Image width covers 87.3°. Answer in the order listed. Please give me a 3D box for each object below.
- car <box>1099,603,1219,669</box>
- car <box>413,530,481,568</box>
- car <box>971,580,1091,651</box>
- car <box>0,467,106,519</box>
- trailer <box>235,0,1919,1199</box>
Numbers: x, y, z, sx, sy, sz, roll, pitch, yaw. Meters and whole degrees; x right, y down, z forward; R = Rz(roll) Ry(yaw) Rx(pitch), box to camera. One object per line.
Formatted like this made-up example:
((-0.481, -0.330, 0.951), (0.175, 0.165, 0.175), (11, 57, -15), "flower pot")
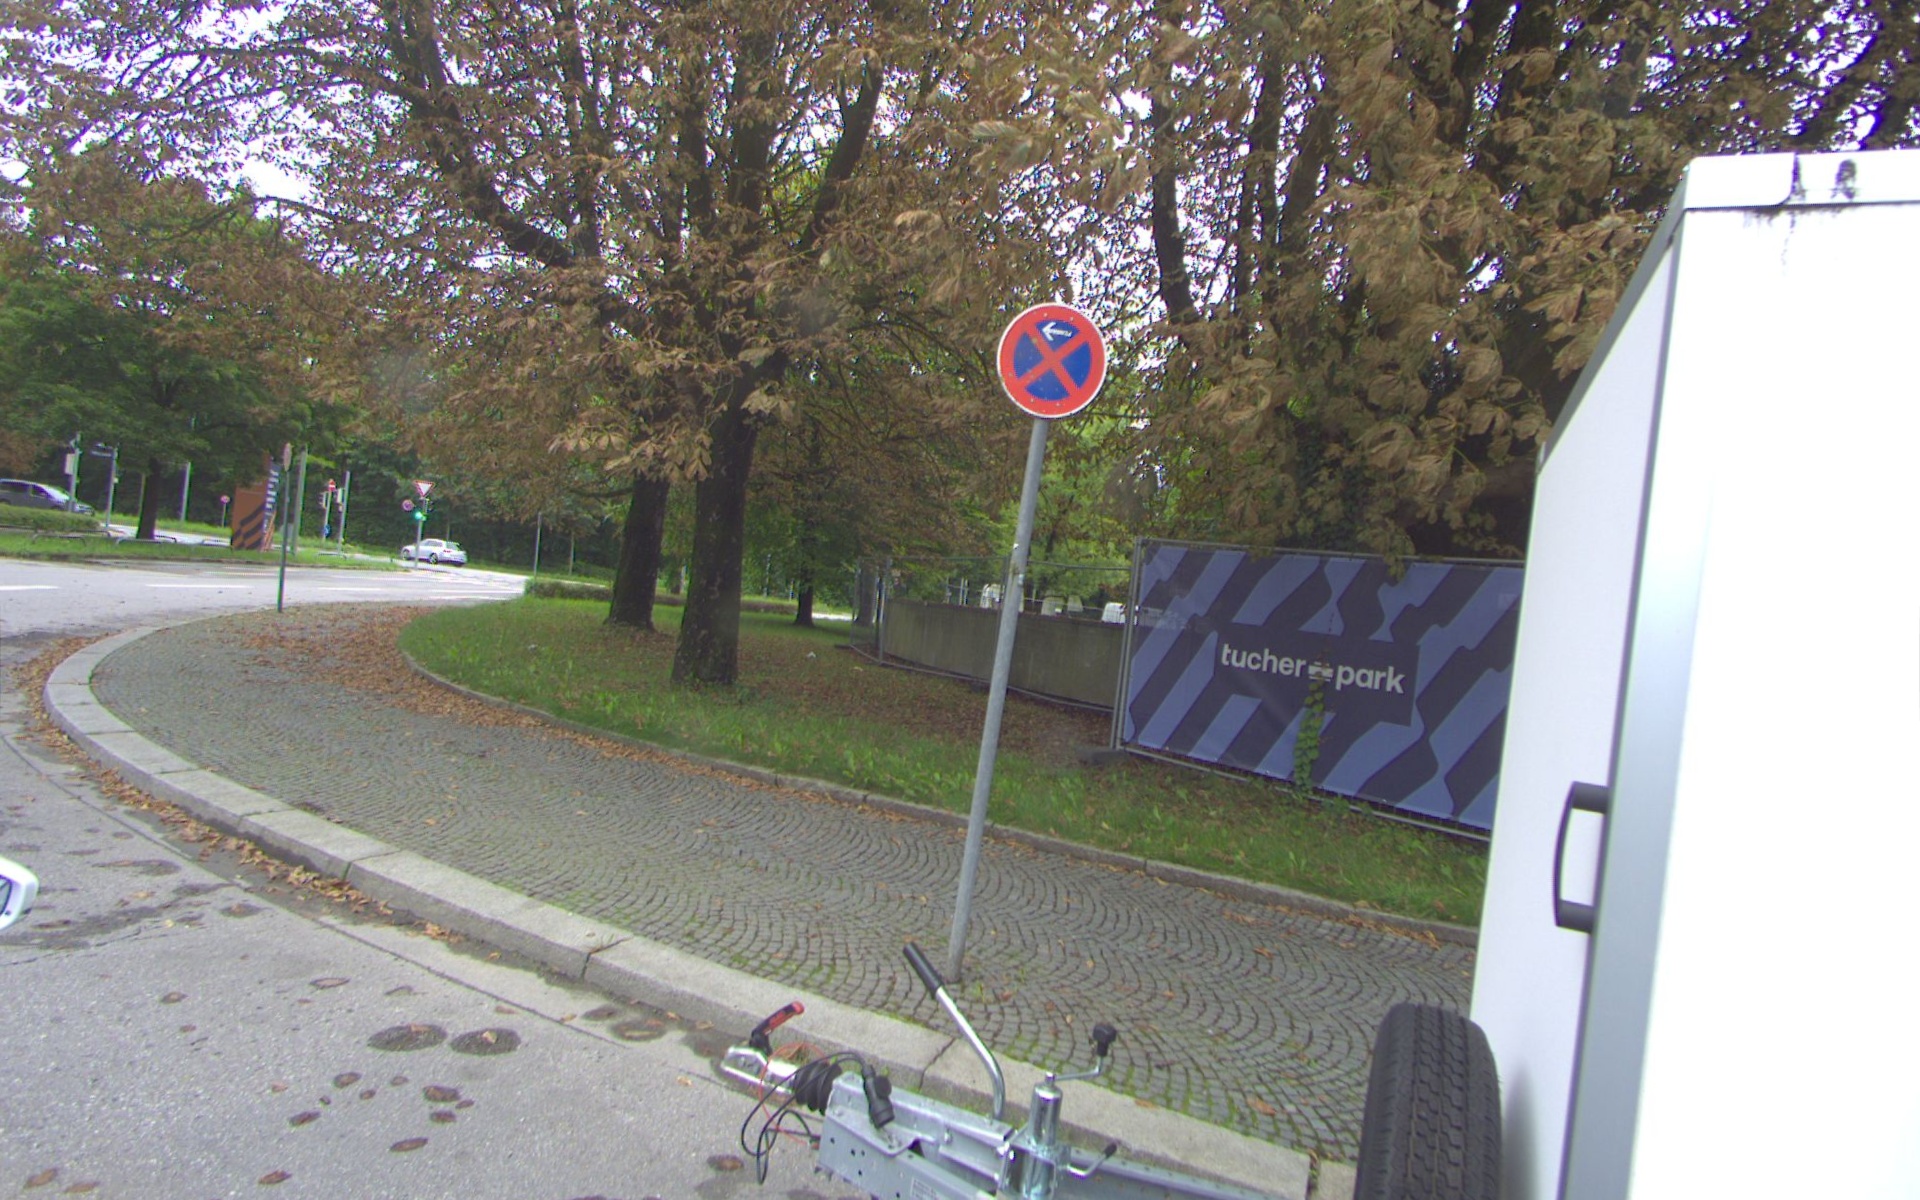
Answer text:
((10.034, 1.801, 51.048), (5.359, 2.612, 2.076), (7, 0, -3), "car")
((-30.213, -3.018, 59.200), (4.064, 1.771, 1.992), (7, 0, 39), "car")
((3.507, 0.766, 50.463), (5.495, 2.767, 2.076), (7, 0, -3), "car")
((-48.771, -5.700, 53.931), (3.931, 2.038, 1.997), (7, 0, -8), "car")
((1.321, 0.524, 1.483), (4.749, 2.038, 1.813), (6, 0, 27), "trailer")
